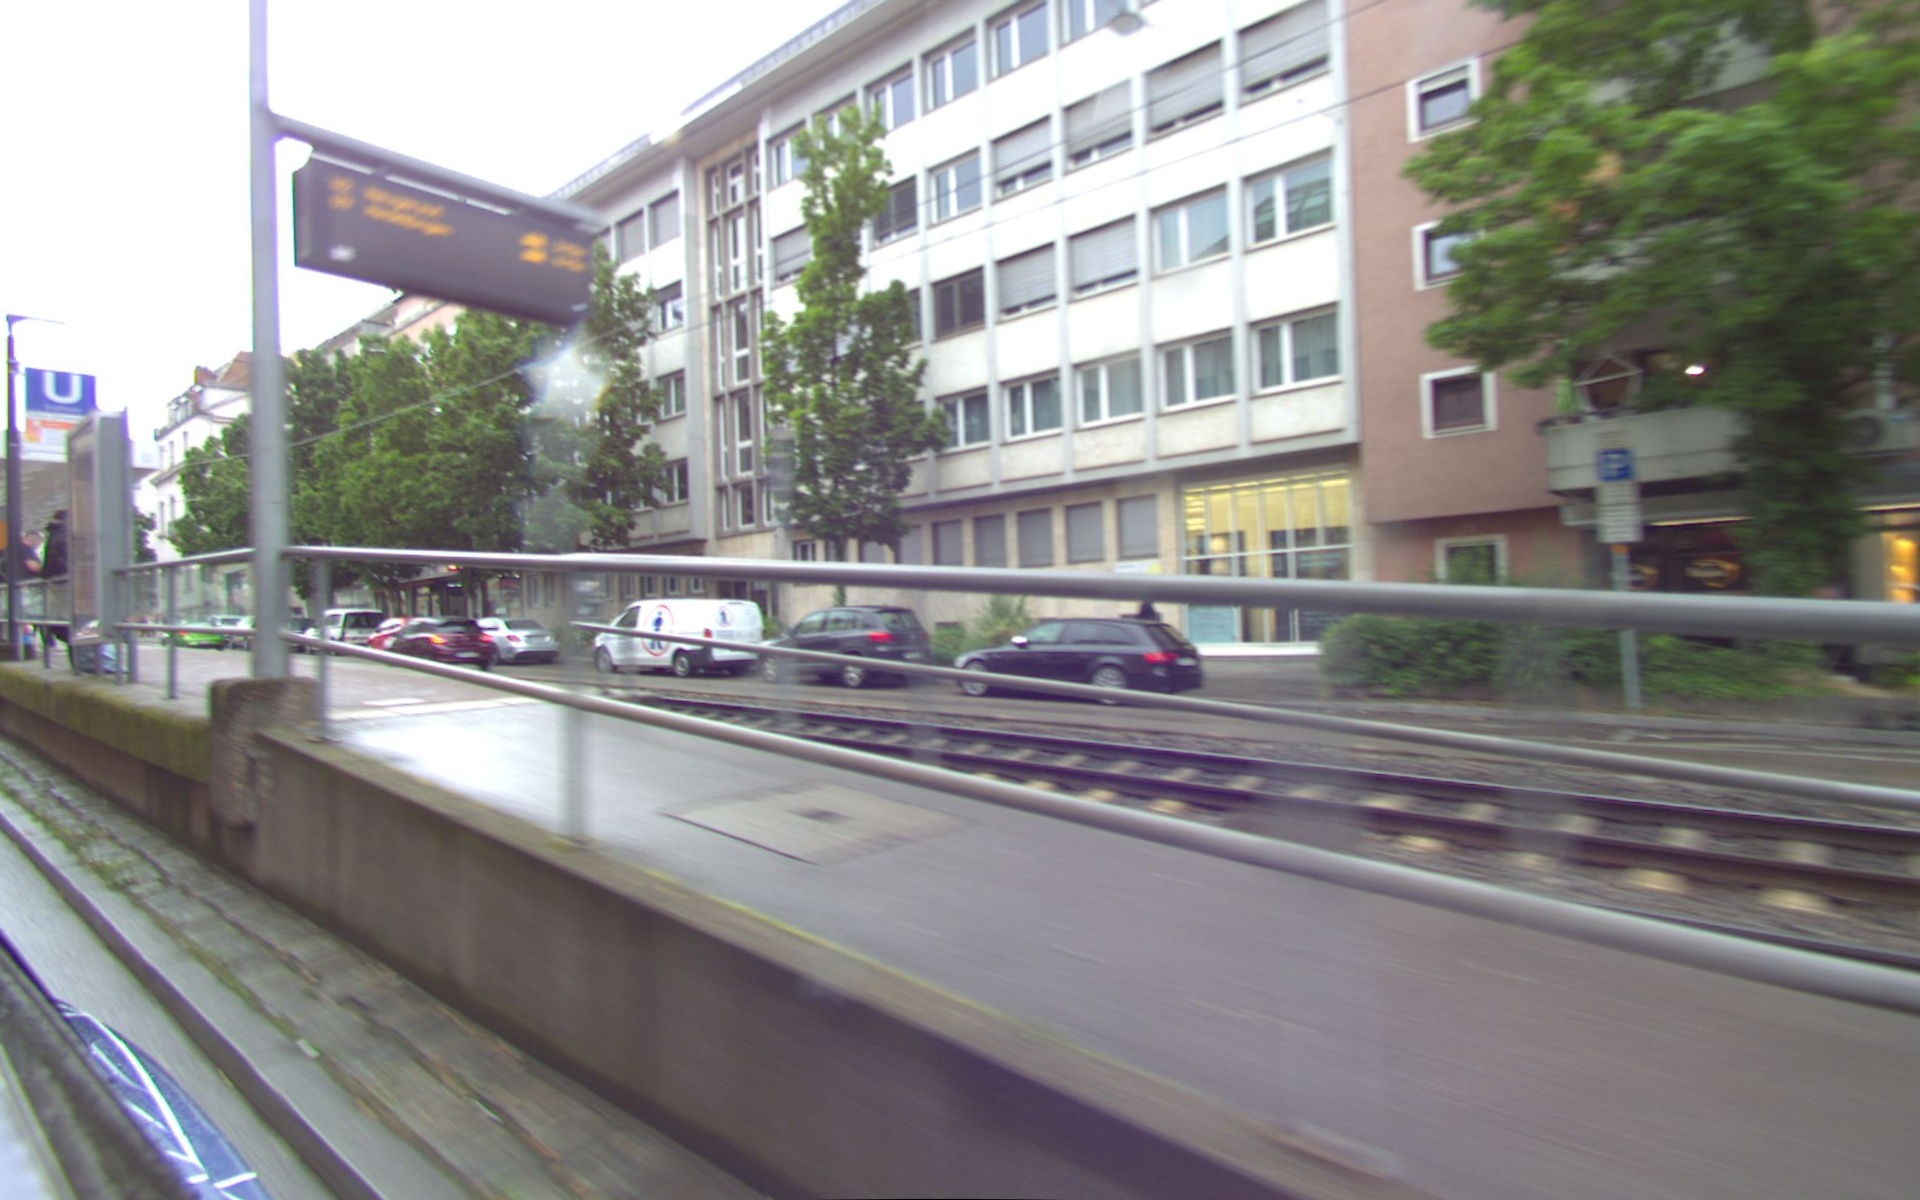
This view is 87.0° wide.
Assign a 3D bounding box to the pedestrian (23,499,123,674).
[{"bbox_3d":[-8.317,-0.113,9.492,0.700,1.569,0.577,-1,-2,39],"label":"pedestrian"}]

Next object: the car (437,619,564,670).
[{"bbox_3d":[-14.133,1.313,31.052,4.524,1.473,1.675,-1,-1,38],"label":"car"}]

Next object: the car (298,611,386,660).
[{"bbox_3d":[-24.518,1.365,40.082,4.428,1.831,1.657,-1,-1,40],"label":"car"}]

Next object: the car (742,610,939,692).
[{"bbox_3d":[-2.582,0.987,21.173,4.369,1.548,1.621,-1,-1,42],"label":"car"}]

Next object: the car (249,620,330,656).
[{"bbox_3d":[-28.810,1.593,43.439,4.726,1.451,1.622,-1,-1,40],"label":"car"}]

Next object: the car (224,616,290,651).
[{"bbox_3d":[-32.670,1.524,47.006,4.021,1.549,1.621,-1,-1,41],"label":"car"}]

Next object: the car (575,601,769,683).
[{"bbox_3d":[-7.238,0.988,25.178,5.249,1.858,1.889,-1,-1,37],"label":"car"}]

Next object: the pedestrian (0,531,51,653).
[{"bbox_3d":[-13.580,-0.106,14.494,0.700,1.706,0.704,-1,-2,38],"label":"pedestrian"}]

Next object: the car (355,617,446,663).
[{"bbox_3d":[-20.212,1.396,36.500,3.801,1.551,1.622,-1,-1,40],"label":"car"}]

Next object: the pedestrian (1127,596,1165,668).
[{"bbox_3d":[4.090,0.700,22.278,0.584,1.569,0.693,-1,-1,35],"label":"pedestrian"}]

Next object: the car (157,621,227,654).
[{"bbox_3d":[-33.441,1.588,44.041,3.732,1.348,1.622,-1,-1,40],"label":"car"}]

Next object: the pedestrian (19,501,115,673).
[{"bbox_3d":[-8.819,-0.117,9.996,0.700,1.621,0.577,-1,-2,39],"label":"pedestrian"}]

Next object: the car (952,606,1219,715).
[{"bbox_3d":[2.031,0.937,17.253,4.369,1.636,1.621,-1,-1,42],"label":"car"}]

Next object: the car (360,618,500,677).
[{"bbox_3d":[-14.447,1.232,27.468,4.524,1.473,1.675,-1,-1,38],"label":"car"}]

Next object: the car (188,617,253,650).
[{"bbox_3d":[-37.493,1.678,51.274,4.334,1.596,1.641,-1,-1,40],"label":"car"}]
